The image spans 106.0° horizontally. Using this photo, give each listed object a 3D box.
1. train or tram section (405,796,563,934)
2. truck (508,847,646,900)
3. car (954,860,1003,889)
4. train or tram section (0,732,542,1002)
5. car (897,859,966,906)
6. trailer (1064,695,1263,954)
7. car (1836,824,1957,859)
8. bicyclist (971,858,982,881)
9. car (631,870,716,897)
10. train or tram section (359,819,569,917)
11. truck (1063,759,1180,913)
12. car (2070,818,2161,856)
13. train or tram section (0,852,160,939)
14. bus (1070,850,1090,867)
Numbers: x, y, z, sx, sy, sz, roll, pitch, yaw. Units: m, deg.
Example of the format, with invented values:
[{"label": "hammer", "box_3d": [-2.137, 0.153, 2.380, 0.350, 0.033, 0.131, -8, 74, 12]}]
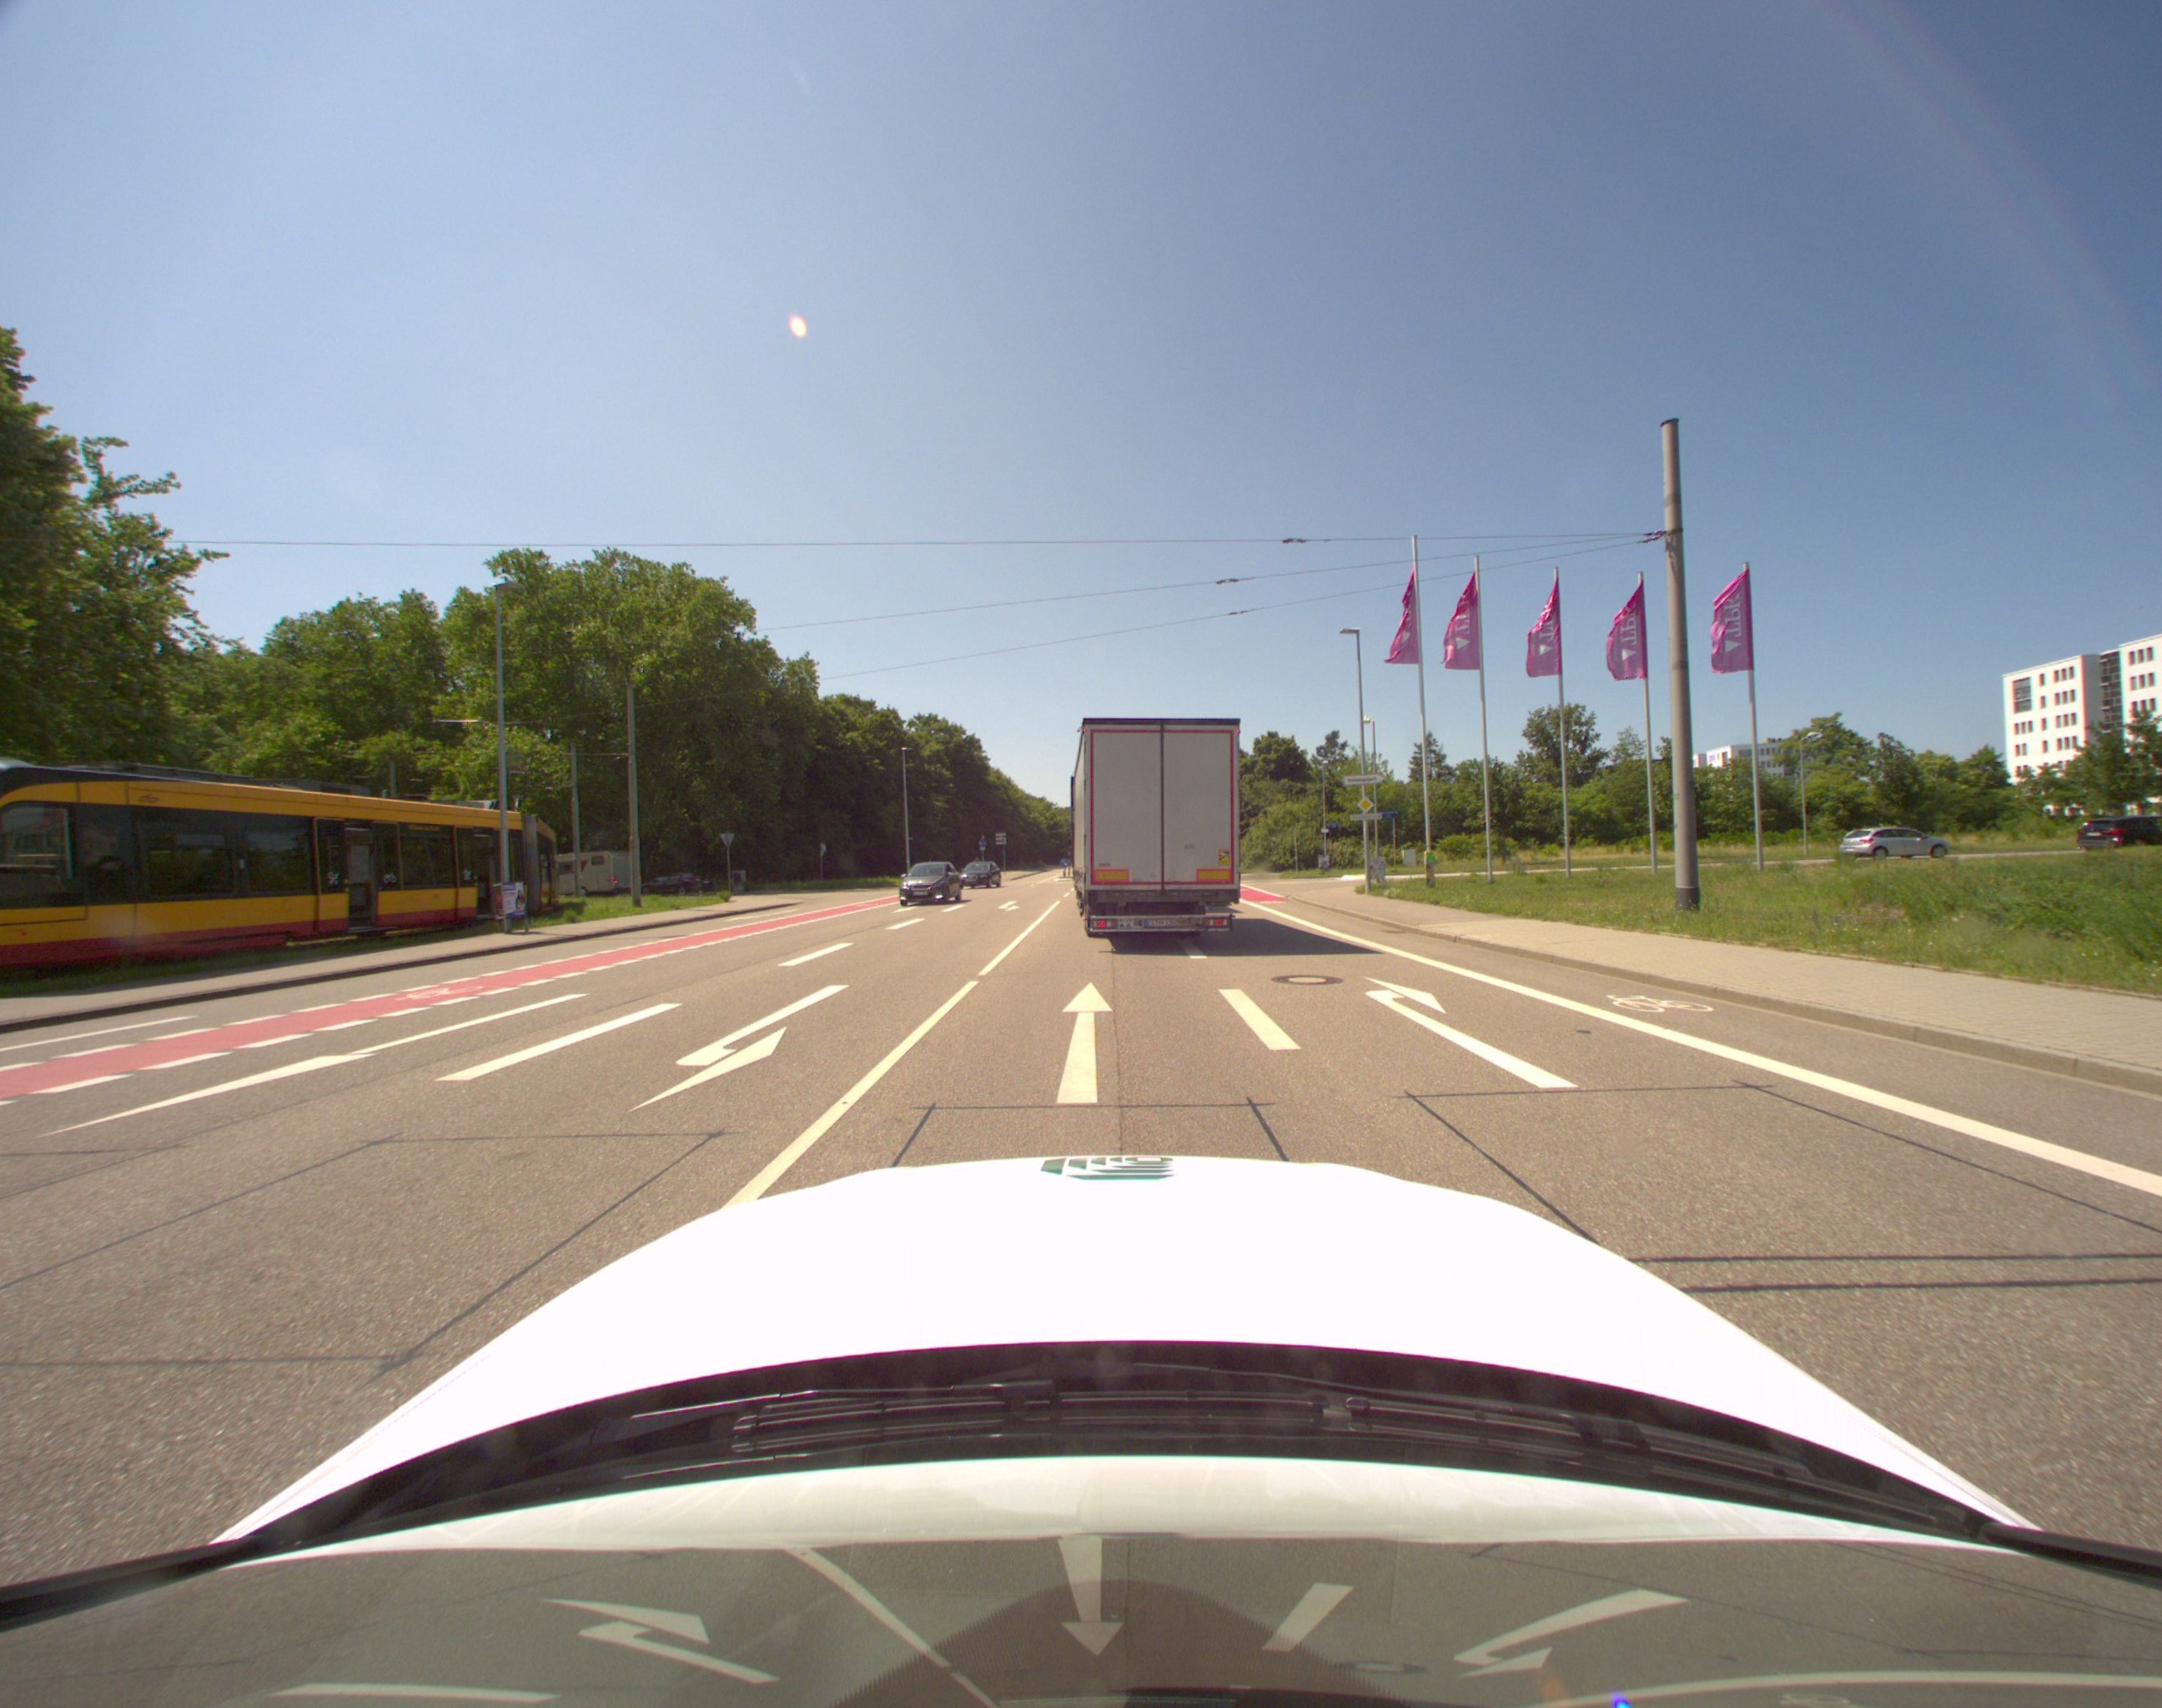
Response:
[{"label": "train or tram section", "box_3d": [-20.104, 0.395, 28.204, 3.036, 3.759, 11.504, -3, 0, -30]}, {"label": "truck", "box_3d": [-30.596, 1.211, 49.544, 7.270, 2.910, 2.576, -2, -1, 11]}, {"label": "car", "box_3d": [-5.562, 1.085, 44.664, 1.736, 1.405, 4.446, -2, 1, 4]}, {"label": "train or tram section", "box_3d": [-16.990, 0.256, 17.341, 3.011, 3.759, 12.973, -3, 0, -4]}, {"label": "car", "box_3d": [-5.211, 0.963, 28.823, 1.616, 1.456, 3.503, -3, -1, 2]}, {"label": "trailer", "box_3d": [1.212, -0.473, 17.842, 3.069, 4.070, 9.802, -1, 0, -1]}, {"label": "car", "box_3d": [37.584, -0.553, 37.620, 3.592, 1.533, 1.711, 0, 0, 11]}, {"label": "bicyclist", "box_3d": [-7.573, 1.118, 59.229, 0.662, 1.706, 0.770, -1, 0, 3]}, {"label": "car", "box_3d": [-23.926, 1.729, 47.914, 4.272, 1.417, 1.671, -2, -2, 10]}, {"label": "train or tram section", "box_3d": [-28.231, 0.790, 36.826, 13.865, 3.759, 3.046, -3, 0, 34]}, {"label": "truck", "box_3d": [1.039, -0.469, 25.762, 3.068, 4.070, 7.956, -1, 0, -1]}, {"label": "car", "box_3d": [44.059, -0.707, 33.833, 3.596, 1.533, 1.709, 0, 0, 7]}, {"label": "train or tram section", "box_3d": [-53.252, 2.201, 37.598, 14.204, 3.759, 3.004, -3, 0, -22]}, {"label": "bus", "box_3d": [-0.117, 0.898, 162.112, 2.736, 3.045, 11.957, -4, 0, 6]}]
